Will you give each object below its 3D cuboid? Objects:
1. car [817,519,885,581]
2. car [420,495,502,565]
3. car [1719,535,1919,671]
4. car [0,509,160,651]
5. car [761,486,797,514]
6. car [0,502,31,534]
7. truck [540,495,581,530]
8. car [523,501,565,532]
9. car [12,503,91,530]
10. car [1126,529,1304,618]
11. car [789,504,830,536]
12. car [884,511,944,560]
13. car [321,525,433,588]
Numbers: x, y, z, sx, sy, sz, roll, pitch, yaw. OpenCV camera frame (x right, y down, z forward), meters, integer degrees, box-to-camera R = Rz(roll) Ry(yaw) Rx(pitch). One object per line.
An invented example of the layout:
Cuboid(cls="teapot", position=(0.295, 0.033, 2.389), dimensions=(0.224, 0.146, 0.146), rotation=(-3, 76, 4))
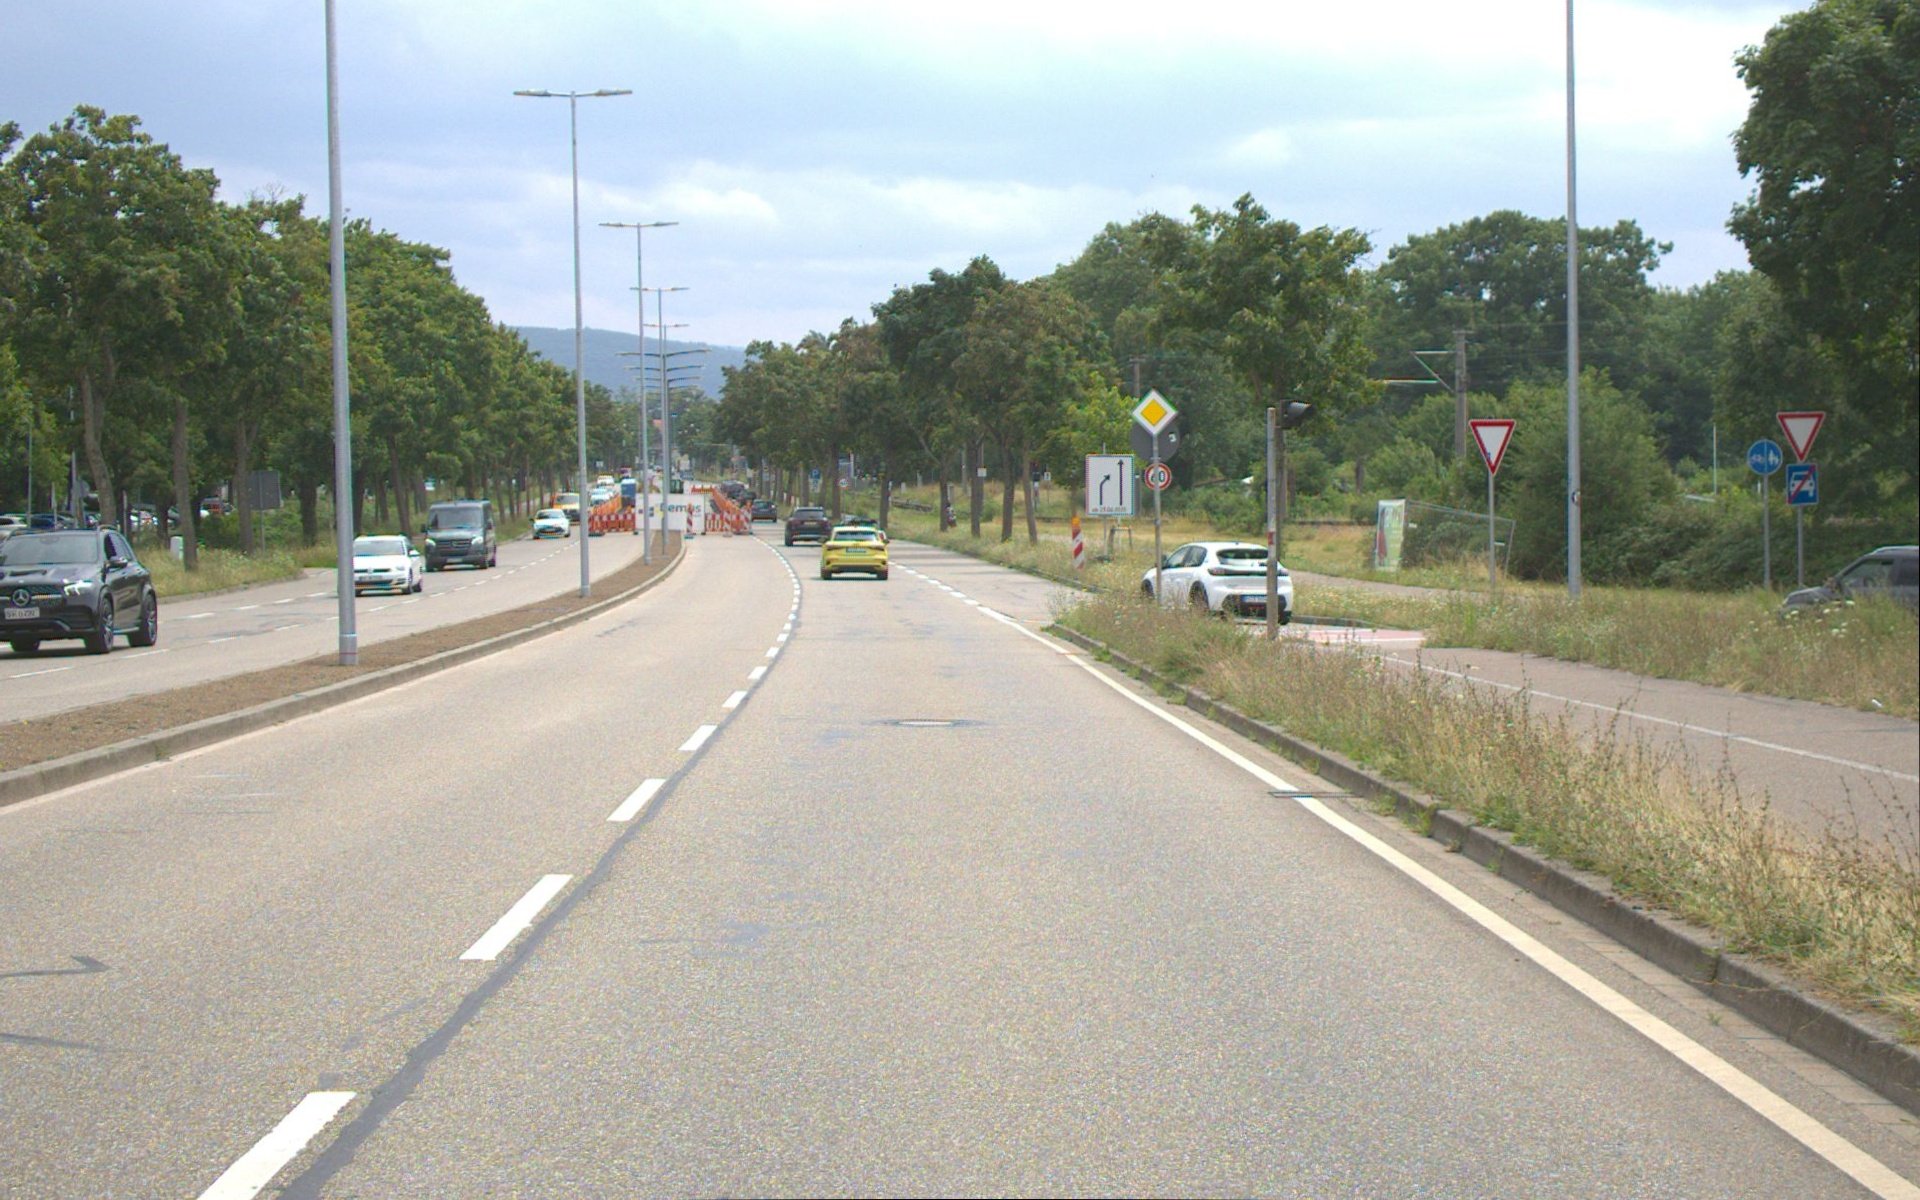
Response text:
Cuboid(cls="car", position=(-2.986, -1.381, 93.727), dimensions=(1.793, 1.556, 4.001), rotation=(0, 2, -3))
Cuboid(cls="car", position=(-16.517, -2.360, 114.035), dimensions=(2.095, 2.193, 6.005), rotation=(-2, 2, -3))
Cuboid(cls="car", position=(12.086, 0.026, 44.651), dimensions=(3.997, 1.662, 1.705), rotation=(2, 3, 41))
Cuboid(cls="car", position=(-12.803, -0.327, 48.593), dimensions=(1.993, 1.805, 4.799), rotation=(-1, 2, -2))
Cuboid(cls="car", position=(-11.393, -6.311, 216.728), dimensions=(2.206, 1.678, 4.001), rotation=(0, 2, -2))
Cuboid(cls="car", position=(-48.014, -4.043, 170.066), dimensions=(3.649, 1.514, 1.883), rotation=(0, 2, -1))
Cuboid(cls="truck", position=(-24.387, -5.346, 209.972), dimensions=(2.088, 1.987, 6.040), rotation=(-2, 3, -3))
Cuboid(cls="car", position=(-20.712, -4.186, 171.367), dimensions=(1.716, 1.415, 4.161), rotation=(-2, 3, -2))
Cuboid(cls="car", position=(-49.324, -4.525, 186.773), dimensions=(3.772, 1.421, 1.966), rotation=(0, 2, -1))
Cuboid(cls="car", position=(4.570, -0.503, 62.138), dimensions=(1.766, 1.459, 4.002), rotation=(-1, 3, -19))
Cuboid(cls="car", position=(-6.265, -3.325, 142.741), dimensions=(1.667, 1.265, 4.001), rotation=(0, 2, -3))
Cuboid(cls="car", position=(-1.669, -2.326, 123.410), dimensions=(2.013, 1.664, 4.001), rotation=(0, 2, -3))
Cuboid(cls="car", position=(-14.384, -1.099, 85.001), dimensions=(1.993, 1.426, 4.689), rotation=(-2, 2, -1))
